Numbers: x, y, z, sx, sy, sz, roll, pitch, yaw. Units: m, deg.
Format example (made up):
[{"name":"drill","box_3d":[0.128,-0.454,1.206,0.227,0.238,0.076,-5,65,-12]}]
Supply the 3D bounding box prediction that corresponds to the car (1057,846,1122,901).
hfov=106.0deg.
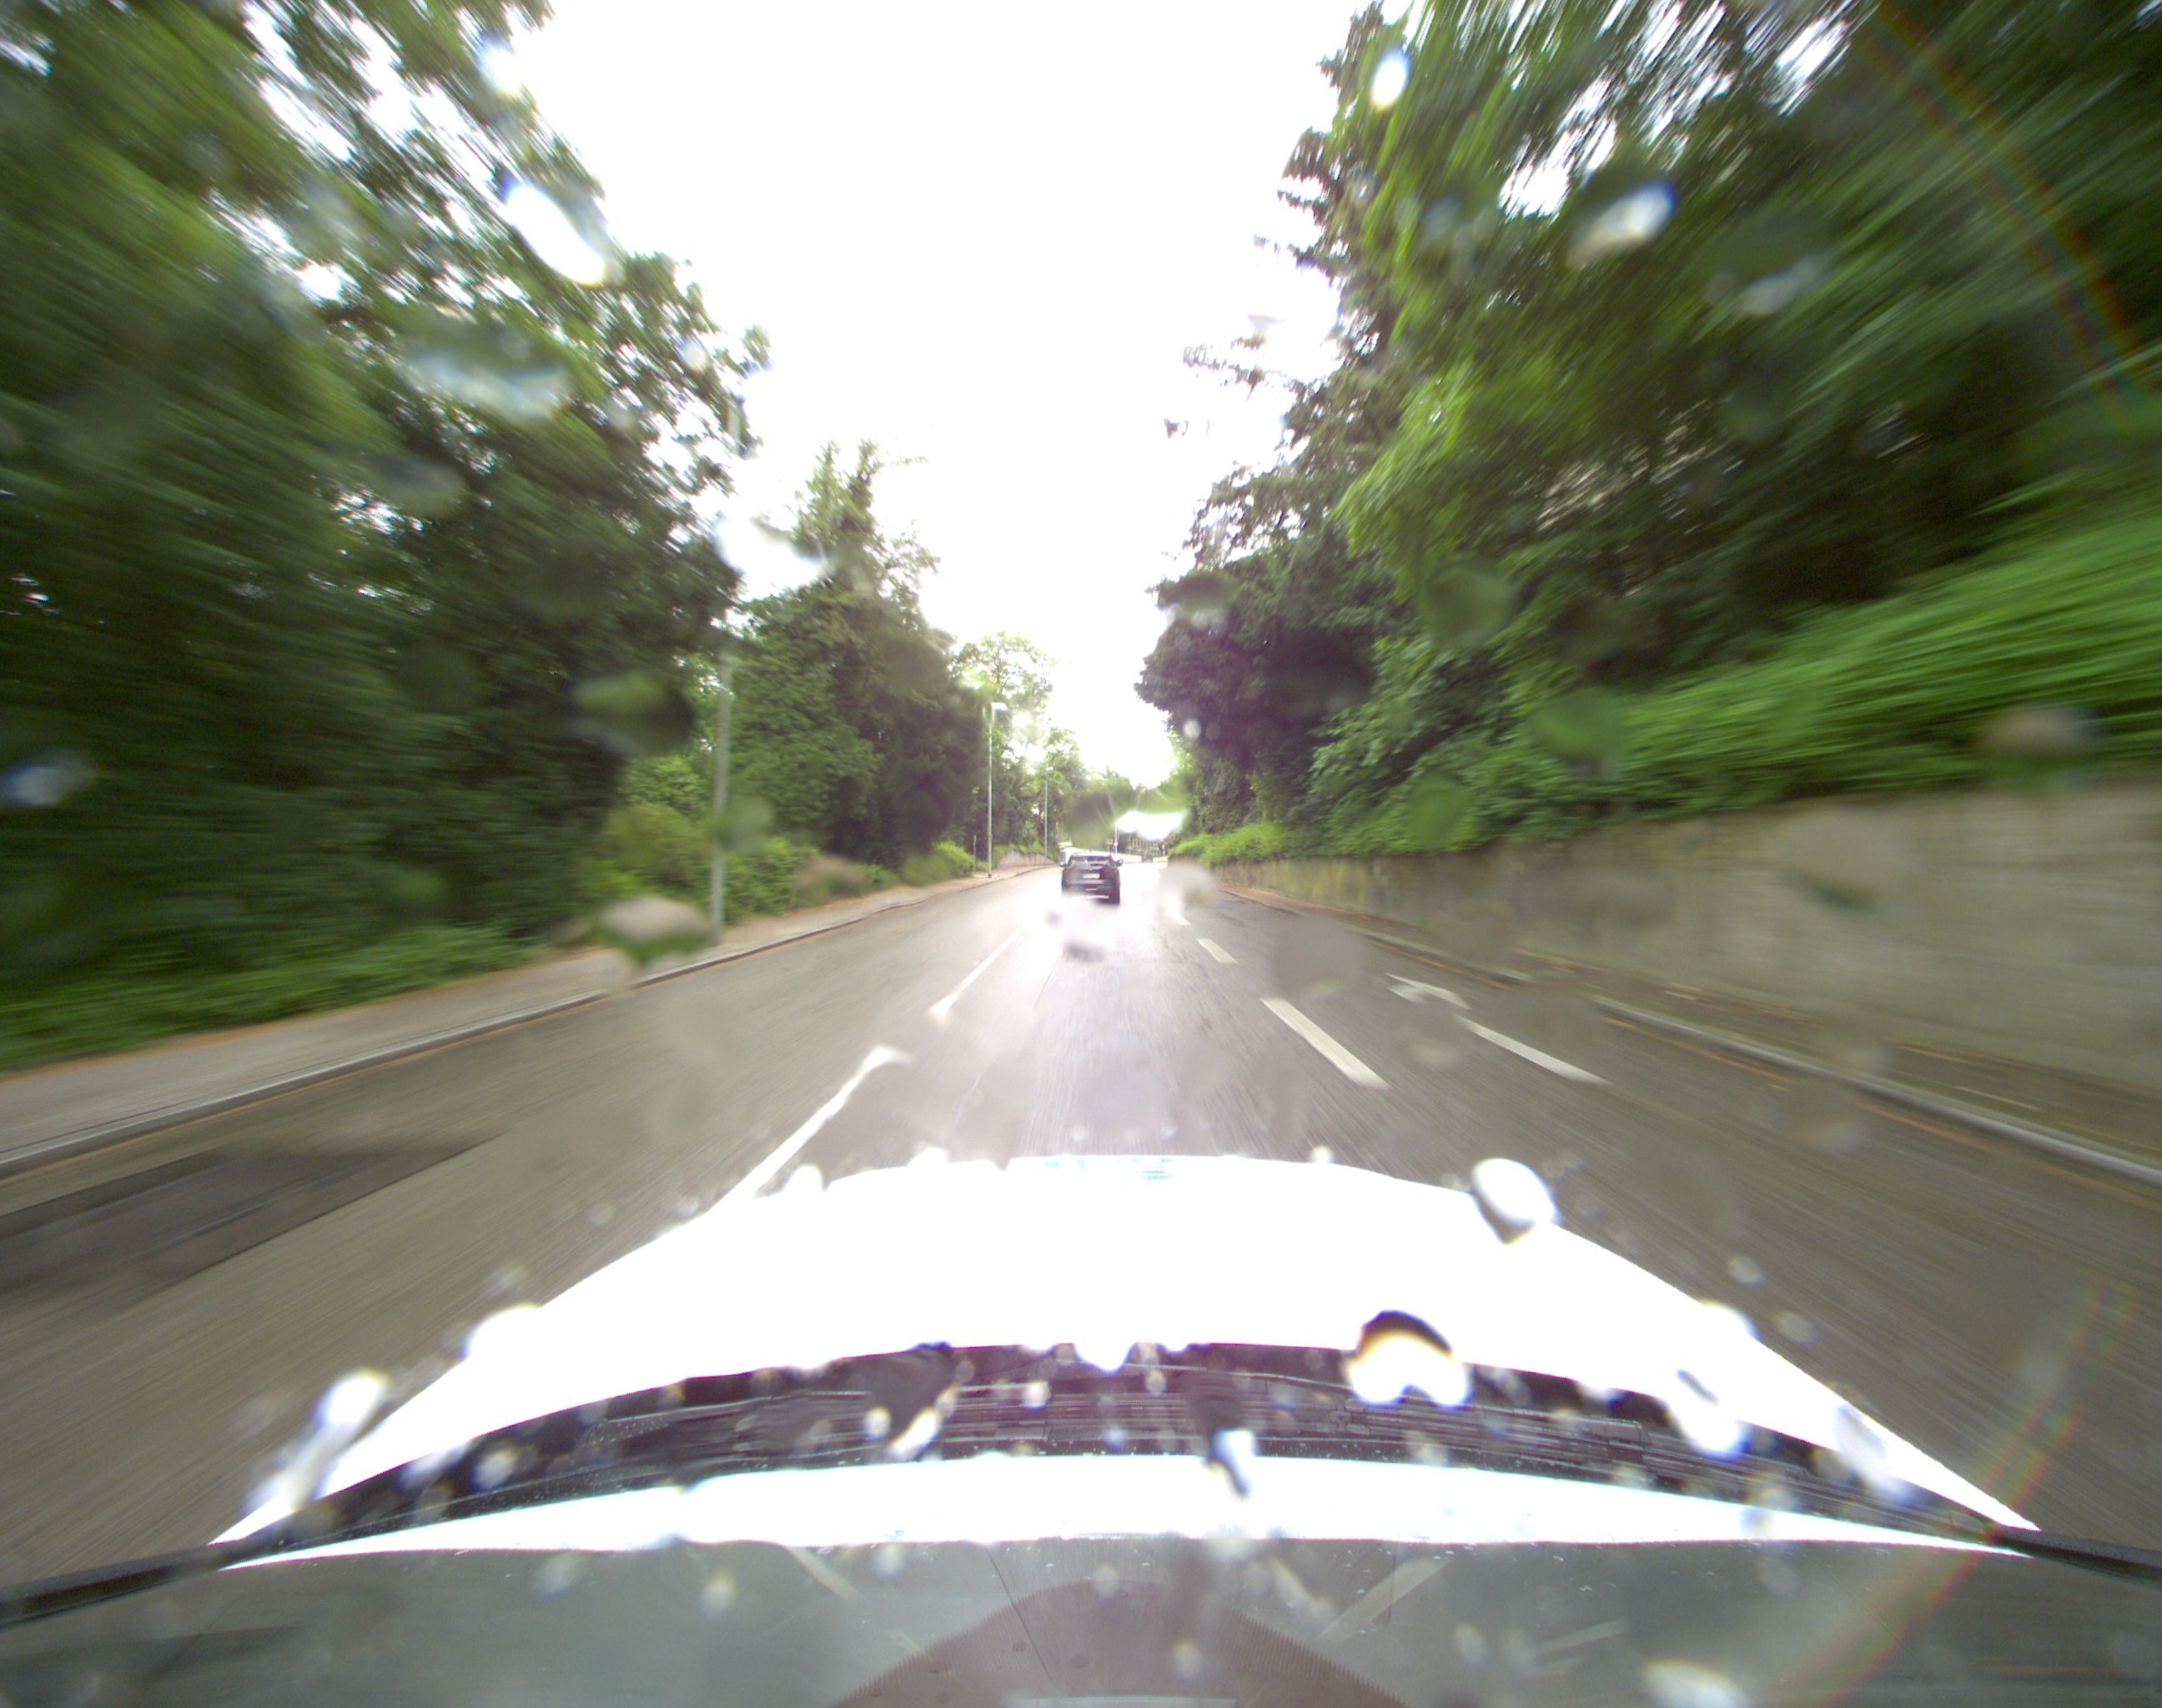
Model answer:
[{"name":"car","box_3d":[0.302,0.582,26.397,1.921,1.613,4.001,-1,0,1]}]

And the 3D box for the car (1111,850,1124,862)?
[{"name":"car","box_3d":[4.889,0.280,108.529,1.669,1.496,3.461,-1,0,1]}]
